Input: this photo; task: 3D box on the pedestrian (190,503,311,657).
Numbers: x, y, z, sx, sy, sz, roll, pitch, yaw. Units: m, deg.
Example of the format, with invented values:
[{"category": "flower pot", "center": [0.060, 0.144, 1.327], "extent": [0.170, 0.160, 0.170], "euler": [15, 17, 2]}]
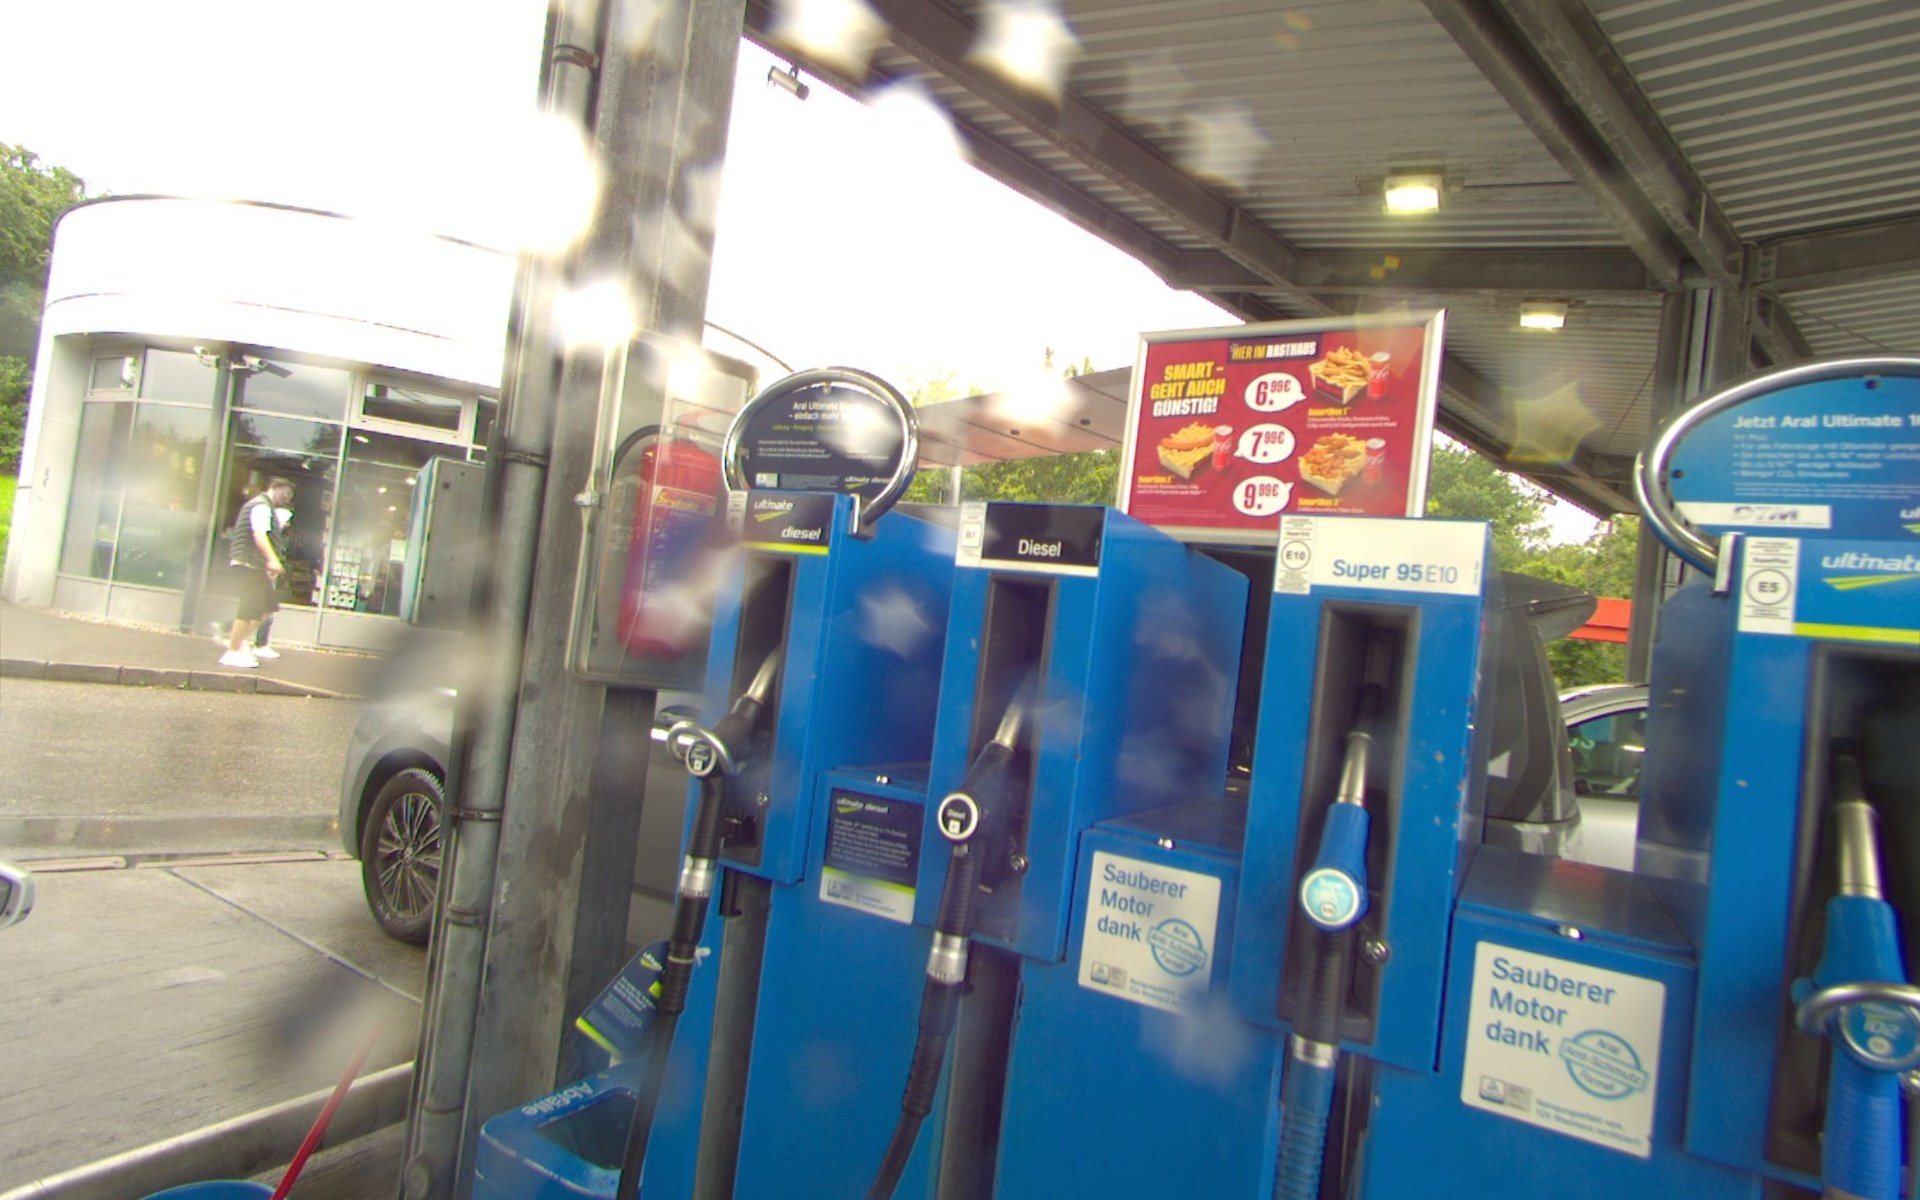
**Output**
[{"category": "pedestrian", "center": [-7.859, -0.214, 11.185], "extent": [0.882, 1.569, 0.655], "euler": [7, 0, -29]}]

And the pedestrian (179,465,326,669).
[{"category": "pedestrian", "center": [-7.101, -0.317, 10.155], "extent": [0.965, 1.871, 0.767], "euler": [7, 0, -30]}]

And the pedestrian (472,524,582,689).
[{"category": "pedestrian", "center": [-5.353, 0.082, 12.430], "extent": [0.990, 1.887, 0.793], "euler": [7, 0, -30]}]

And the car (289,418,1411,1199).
[{"category": "car", "center": [-0.577, 0.500, 3.978], "extent": [3.934, 1.971, 1.819], "euler": [7, -1, 32]}]
